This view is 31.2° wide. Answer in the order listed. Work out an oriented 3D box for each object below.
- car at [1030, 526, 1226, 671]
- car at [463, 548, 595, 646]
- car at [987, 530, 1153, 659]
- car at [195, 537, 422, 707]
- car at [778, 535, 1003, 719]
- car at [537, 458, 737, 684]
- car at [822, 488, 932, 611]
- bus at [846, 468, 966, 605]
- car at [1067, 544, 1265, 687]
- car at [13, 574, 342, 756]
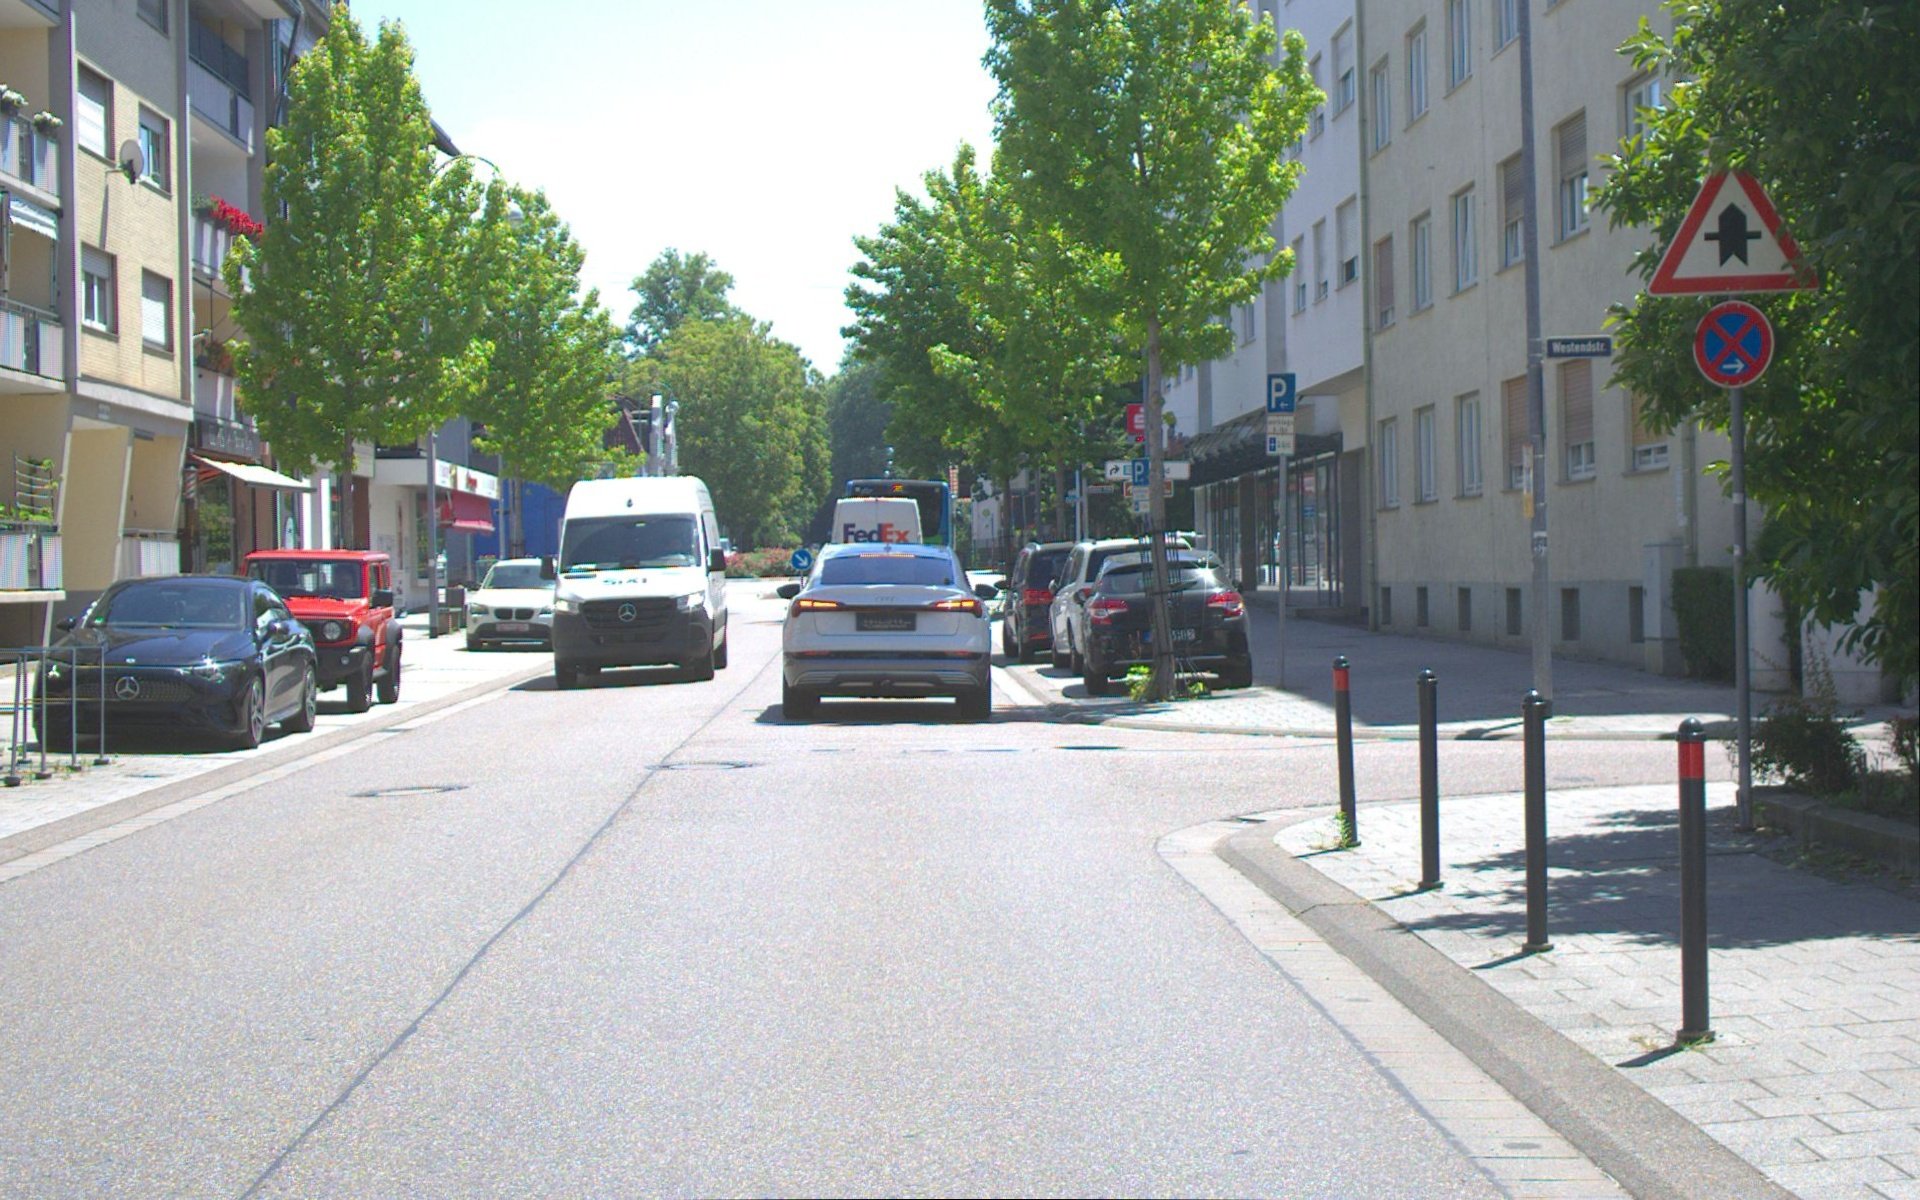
[{"bbox_3d":[2.085,-0.053,43.877,1.896,1.669,4.691,-3,1,-4],"label":"car"},{"bbox_3d":[-7.497,-0.079,60.183,1.752,1.612,4.401,1,1,0],"label":"car"},{"bbox_3d":[1.523,-0.108,49.213,1.855,1.669,4.537,-3,1,-4],"label":"car"},{"bbox_3d":[-6.920,0.196,36.878,1.752,1.696,4.102,1,1,-2],"label":"car"},{"bbox_3d":[-0.709,0.215,32.629,1.993,1.627,4.001,0,1,-3],"label":"car"},{"bbox_3d":[-4.124,-0.409,45.057,2.036,2.621,7.108,-3,1,-2],"label":"car"},{"bbox_3d":[-1.697,-1.028,71.191,2.156,2.433,5.284,1,0,-1],"label":"car"},{"bbox_3d":[-1.264,-1.528,85.111,2.661,3.210,7.301,1,0,1],"label":"bus"},{"bbox_3d":[2.193,0.126,37.737,1.896,1.433,4.544,-1,1,0],"label":"car"},{"bbox_3d":[-6.799,0.508,30.407,1.896,1.412,5.048,1,1,-2],"label":"car"}]
